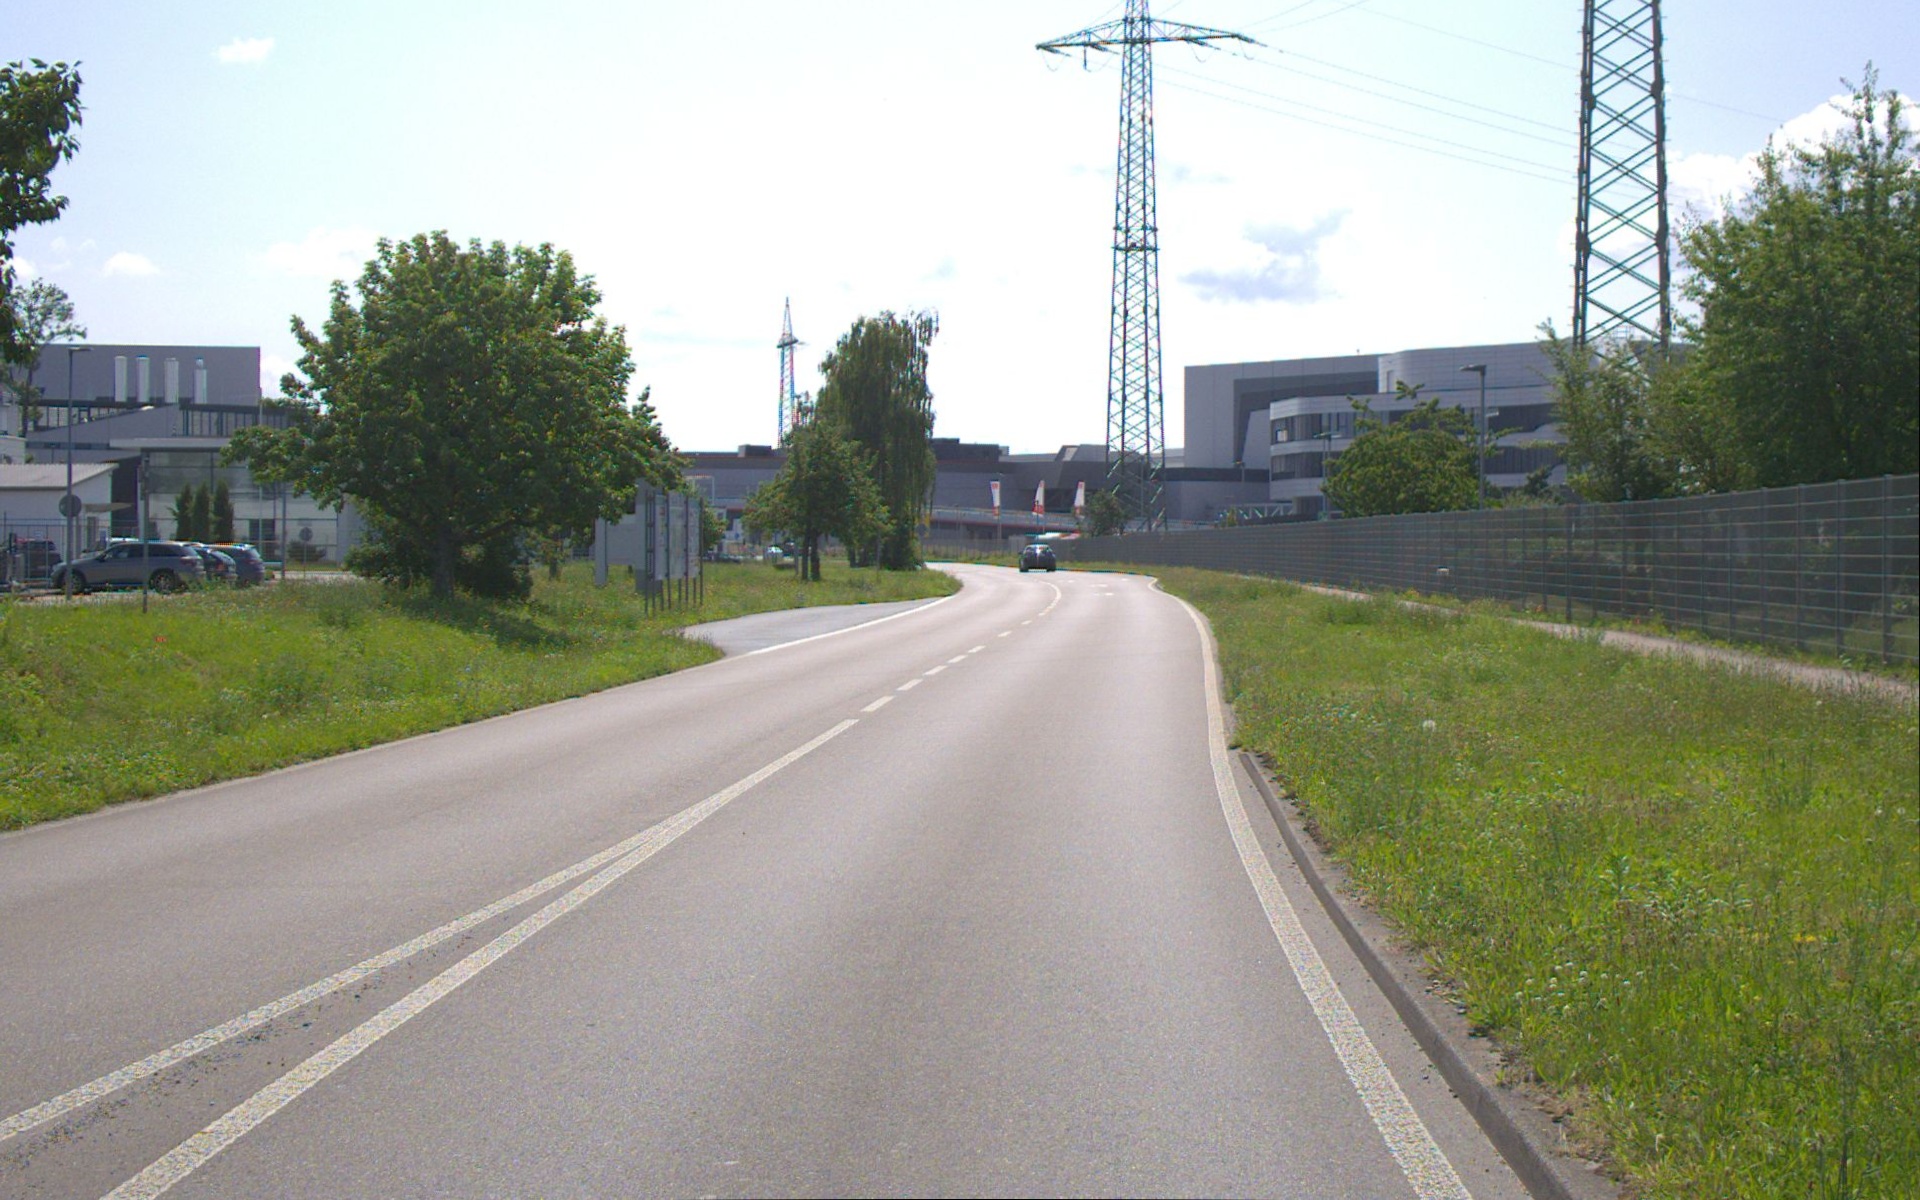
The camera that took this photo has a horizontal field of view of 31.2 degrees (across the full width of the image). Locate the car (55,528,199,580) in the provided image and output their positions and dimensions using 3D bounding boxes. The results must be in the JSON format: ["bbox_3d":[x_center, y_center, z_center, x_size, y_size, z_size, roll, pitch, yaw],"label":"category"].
[{"bbox_3d":[-25.578,-1.420,105.710,3.986,1.523,2.000,1,1,-3],"label":"car"}]

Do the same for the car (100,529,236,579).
[{"bbox_3d":[-25.346,-1.481,110.109,3.986,1.550,1.666,1,1,-3],"label":"car"}]

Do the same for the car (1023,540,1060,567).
[{"bbox_3d":[4.627,-2.641,195.402,2.012,1.503,4.000,1,1,0],"label":"car"}]

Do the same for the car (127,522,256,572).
[{"bbox_3d":[-26.050,-1.810,116.646,3.986,1.634,2.000,1,1,-3],"label":"car"}]
